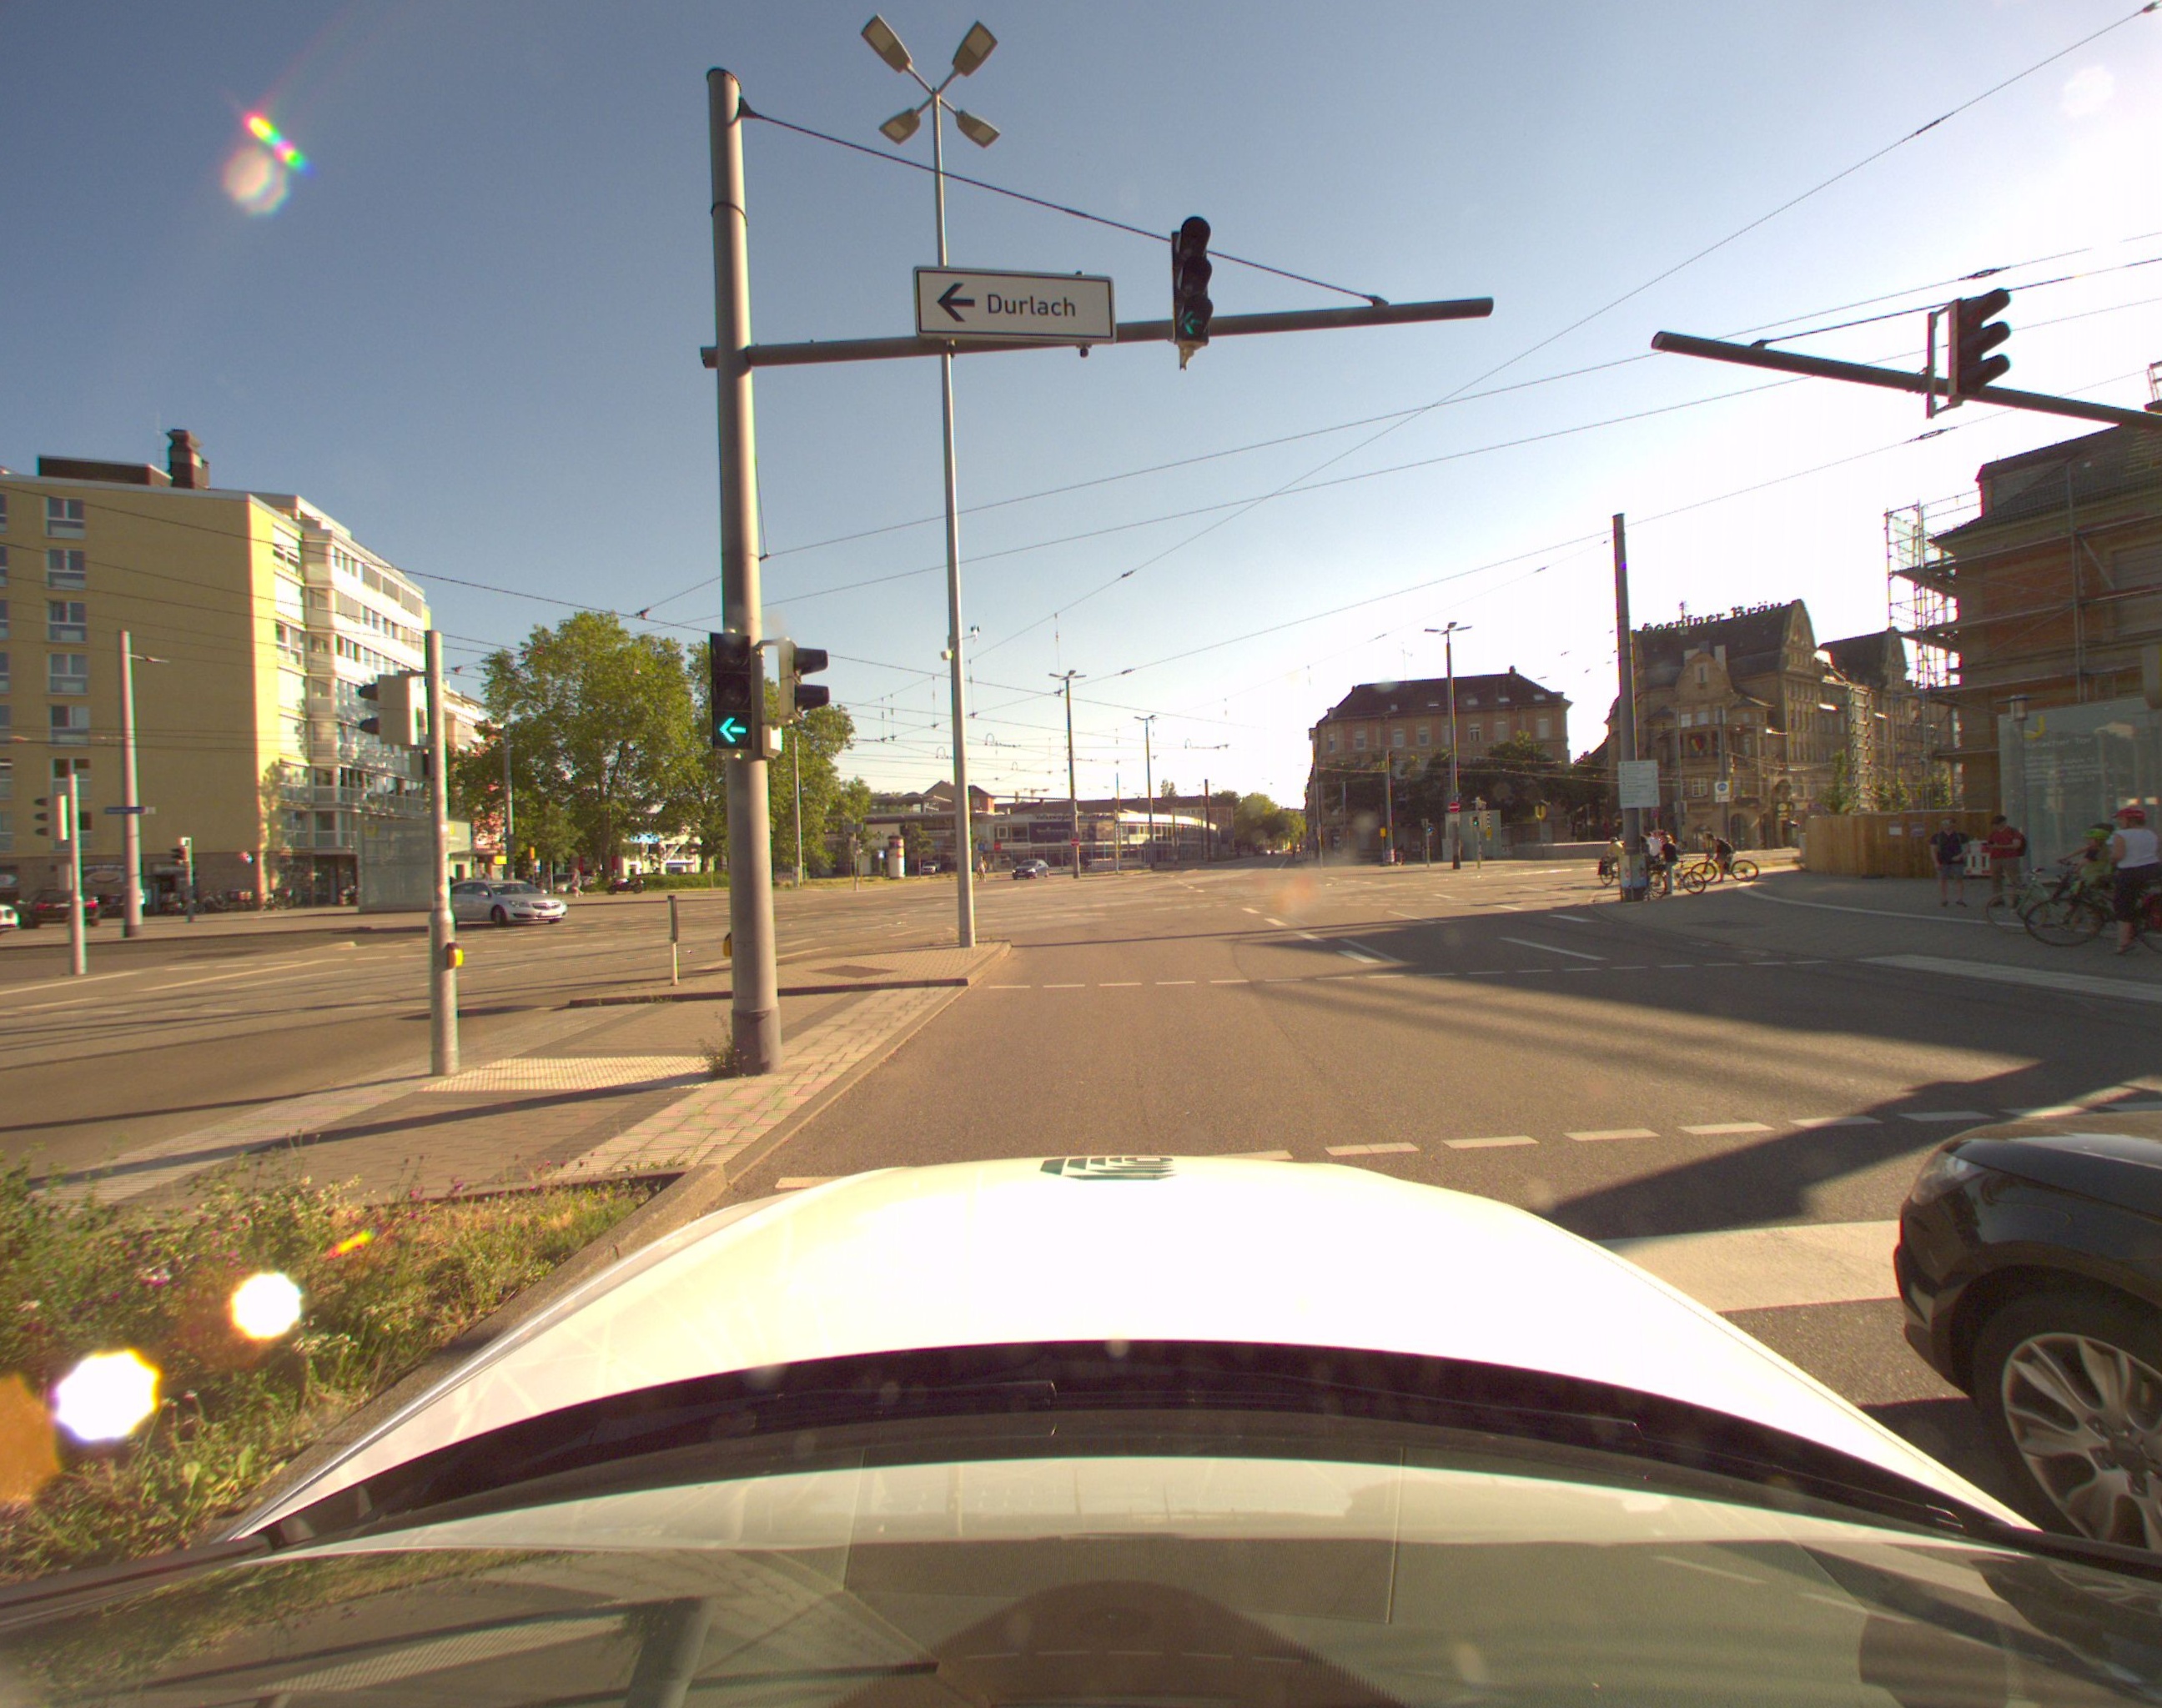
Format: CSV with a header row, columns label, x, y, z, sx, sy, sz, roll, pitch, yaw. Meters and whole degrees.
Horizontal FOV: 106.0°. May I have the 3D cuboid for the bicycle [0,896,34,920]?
label,x,y,z,sx,sy,sz,roll,pitch,yaw
bicycle,-54.568,2.722,40.635,3.042,1.151,0.637,0,-1,-16

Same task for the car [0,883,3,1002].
label,x,y,z,sx,sy,sz,roll,pitch,yaw
car,-11.298,1.086,5.895,1.777,1.662,3.993,0,-1,-5

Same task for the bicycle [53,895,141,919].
label,x,y,z,sx,sy,sz,roll,pitch,yaw
bicycle,-50.576,2.714,41.878,3.042,1.151,0.637,0,-1,-16

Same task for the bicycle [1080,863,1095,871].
label,x,y,z,sx,sy,sz,roll,pitch,yaw
bicycle,0.740,1.387,90.392,0.632,0.870,2.249,-1,-1,31

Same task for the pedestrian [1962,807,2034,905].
label,x,y,z,sx,sy,sz,roll,pitch,yaw
pedestrian,17.473,0.044,15.520,0.672,1.807,0.680,0,-1,-19

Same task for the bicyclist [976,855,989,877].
label,x,y,z,sx,sy,sz,roll,pitch,yaw
bicyclist,-7.234,0.906,59.808,0.593,1.615,0.826,-1,-1,19

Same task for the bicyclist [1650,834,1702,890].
label,x,y,z,sx,sy,sz,roll,pitch,yaw
bicyclist,16.942,0.221,23.186,0.711,1.557,0.940,0,-1,-22

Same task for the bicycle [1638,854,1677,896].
label,x,y,z,sx,sy,sz,roll,pitch,yaw
bicycle,15.851,0.549,22.442,0.692,1.049,2.335,0,0,30

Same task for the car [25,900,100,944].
label,x,y,z,sx,sy,sz,roll,pitch,yaw
car,-44.353,2.911,35.447,3.948,1.706,1.730,-1,-1,35

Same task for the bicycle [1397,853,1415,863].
label,x,y,z,sx,sy,sz,roll,pitch,yaw
bicycle,30.440,0.363,76.292,1.581,0.952,0.663,-1,-1,21

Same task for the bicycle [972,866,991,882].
label,x,y,z,sx,sy,sz,roll,pitch,yaw
bicycle,-7.275,1.473,59.658,0.607,1.189,1.878,-1,-1,19

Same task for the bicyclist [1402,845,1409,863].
label,x,y,z,sx,sy,sz,roll,pitch,yaw
bicyclist,30.403,-0.029,76.316,0.510,1.700,0.523,-1,-1,22

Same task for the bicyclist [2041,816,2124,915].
label,x,y,z,sx,sy,sz,roll,pitch,yaw
bicyclist,15.330,0.177,12.475,0.619,1.454,0.667,0,-1,-28

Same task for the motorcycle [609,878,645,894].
label,x,y,z,sx,sy,sz,roll,pitch,yaw
motorcycle,-27.454,1.947,49.262,1.779,0.914,0.674,0,-1,-19

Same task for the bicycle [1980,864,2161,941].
label,x,y,z,sx,sy,sz,roll,pitch,yaw
bicycle,14.392,0.654,11.668,0.657,0.963,2.032,-4,-1,-3

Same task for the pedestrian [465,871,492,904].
label,x,y,z,sx,sy,sz,roll,pitch,yaw
pedestrian,-31.900,1.757,43.130,0.790,1.706,0.760,-1,-1,9

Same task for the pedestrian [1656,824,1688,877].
label,x,y,z,sx,sy,sz,roll,pitch,yaw
pedestrian,21.963,-0.126,30.261,0.646,1.922,0.689,0,-1,-6

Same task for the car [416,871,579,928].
label,x,y,z,sx,sy,sz,roll,pitch,yaw
car,-18.461,1.396,25.777,4.666,1.662,1.795,-1,-1,19

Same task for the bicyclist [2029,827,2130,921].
label,x,y,z,sx,sy,sz,roll,pitch,yaw
bicyclist,14.375,0.284,11.739,0.614,1.315,0.673,0,-1,-3

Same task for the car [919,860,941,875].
label,x,y,z,sx,sy,sz,roll,pitch,yaw
car,-18.372,1.621,99.402,1.988,1.750,3.997,0,-1,-2

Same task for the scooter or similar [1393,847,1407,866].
label,x,y,z,sx,sy,sz,roll,pitch,yaw
scooter or similar,24.455,0.195,62.456,0.780,1.376,1.916,-1,-1,16

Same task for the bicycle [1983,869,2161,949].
label,x,y,z,sx,sy,sz,roll,pitch,yaw
bicycle,13.404,0.683,10.751,0.657,0.963,2.032,0,-1,-3

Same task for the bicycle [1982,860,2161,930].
label,x,y,z,sx,sy,sz,roll,pitch,yaw
bicycle,15.358,0.594,12.439,0.661,0.963,2.018,-4,0,-25

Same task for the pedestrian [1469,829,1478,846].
label,x,y,z,sx,sy,sz,roll,pitch,yaw
pedestrian,46.899,-1.969,97.209,0.713,2.014,0.758,0,-1,3

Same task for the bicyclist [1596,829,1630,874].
label,x,y,z,sx,sy,sz,roll,pitch,yaw
bicyclist,18.939,-0.076,29.019,0.514,1.557,0.945,0,-1,-7

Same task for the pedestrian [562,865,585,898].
label,x,y,z,sx,sy,sz,roll,pitch,yaw
pedestrian,-29.476,1.583,47.328,0.790,1.886,0.760,-1,-1,9

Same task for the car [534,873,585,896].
label,x,y,z,sx,sy,sz,roll,pitch,yaw
car,-37.531,2.156,58.707,1.772,1.568,3.983,0,-1,-12

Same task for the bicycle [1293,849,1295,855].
label,x,y,z,sx,sy,sz,roll,pitch,yaw
bicycle,36.270,-0.308,138.757,0.407,0.941,1.852,-1,-1,14

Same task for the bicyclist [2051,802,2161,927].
label,x,y,z,sx,sy,sz,roll,pitch,yaw
bicyclist,13.403,0.136,10.564,0.664,1.553,0.794,0,-1,-3

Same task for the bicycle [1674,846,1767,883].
label,x,y,z,sx,sy,sz,roll,pitch,yaw
bicycle,20.822,0.360,26.567,2.290,1.049,0.539,-5,-1,35

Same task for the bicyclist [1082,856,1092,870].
label,x,y,z,sx,sy,sz,roll,pitch,yaw
bicyclist,0.669,1.017,90.333,0.647,1.572,0.928,-1,-1,31

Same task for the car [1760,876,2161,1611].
label,x,y,z,sx,sy,sz,roll,pitch,yaw
car,2.867,0.743,0.510,1.617,1.404,4.001,0,-1,2

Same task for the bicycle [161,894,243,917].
label,x,y,z,sx,sy,sz,roll,pitch,yaw
bicycle,-46.349,2.701,42.971,3.042,1.151,0.637,0,-1,-16

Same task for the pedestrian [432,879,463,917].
label,x,y,z,sx,sy,sz,roll,pitch,yaw
pedestrian,-29.078,2.029,37.388,0.790,1.706,0.760,-1,-1,9

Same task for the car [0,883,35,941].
label,x,y,z,sx,sy,sz,roll,pitch,yaw
car,-36.475,1.930,25.058,4.911,1.824,1.986,-2,-2,-20

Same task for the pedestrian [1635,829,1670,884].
label,x,y,z,sx,sy,sz,roll,pitch,yaw
pedestrian,21.245,0.098,30.275,0.730,2.014,0.760,0,-1,-6

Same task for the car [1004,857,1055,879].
label,x,y,z,sx,sy,sz,roll,pitch,yaw
car,-3.860,1.040,61.532,1.975,1.585,4.024,-1,-1,29

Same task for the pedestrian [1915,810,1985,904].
label,x,y,z,sx,sy,sz,roll,pitch,yaw
pedestrian,17.268,0.056,16.197,0.672,1.807,0.680,-3,0,-19

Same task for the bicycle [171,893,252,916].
label,x,y,z,sx,sy,sz,roll,pitch,yaw
bicycle,-46.562,2.714,43.661,3.042,1.151,0.637,0,-1,-16

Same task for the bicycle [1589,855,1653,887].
label,x,y,z,sx,sy,sz,roll,pitch,yaw
bicycle,18.984,0.591,28.702,0.534,1.049,2.315,0,0,-7

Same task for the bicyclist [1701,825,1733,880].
label,x,y,z,sx,sy,sz,roll,pitch,yaw
bicyclist,20.777,-0.044,26.615,0.785,1.779,0.526,-1,-1,37

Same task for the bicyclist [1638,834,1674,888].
label,x,y,z,sx,sy,sz,roll,pitch,yaw
bicyclist,15.772,0.187,22.353,0.701,1.439,0.953,-1,-1,30

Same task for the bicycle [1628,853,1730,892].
label,x,y,z,sx,sy,sz,roll,pitch,yaw
bicycle,16.959,0.510,23.182,0.701,1.049,2.303,0,-1,-22
